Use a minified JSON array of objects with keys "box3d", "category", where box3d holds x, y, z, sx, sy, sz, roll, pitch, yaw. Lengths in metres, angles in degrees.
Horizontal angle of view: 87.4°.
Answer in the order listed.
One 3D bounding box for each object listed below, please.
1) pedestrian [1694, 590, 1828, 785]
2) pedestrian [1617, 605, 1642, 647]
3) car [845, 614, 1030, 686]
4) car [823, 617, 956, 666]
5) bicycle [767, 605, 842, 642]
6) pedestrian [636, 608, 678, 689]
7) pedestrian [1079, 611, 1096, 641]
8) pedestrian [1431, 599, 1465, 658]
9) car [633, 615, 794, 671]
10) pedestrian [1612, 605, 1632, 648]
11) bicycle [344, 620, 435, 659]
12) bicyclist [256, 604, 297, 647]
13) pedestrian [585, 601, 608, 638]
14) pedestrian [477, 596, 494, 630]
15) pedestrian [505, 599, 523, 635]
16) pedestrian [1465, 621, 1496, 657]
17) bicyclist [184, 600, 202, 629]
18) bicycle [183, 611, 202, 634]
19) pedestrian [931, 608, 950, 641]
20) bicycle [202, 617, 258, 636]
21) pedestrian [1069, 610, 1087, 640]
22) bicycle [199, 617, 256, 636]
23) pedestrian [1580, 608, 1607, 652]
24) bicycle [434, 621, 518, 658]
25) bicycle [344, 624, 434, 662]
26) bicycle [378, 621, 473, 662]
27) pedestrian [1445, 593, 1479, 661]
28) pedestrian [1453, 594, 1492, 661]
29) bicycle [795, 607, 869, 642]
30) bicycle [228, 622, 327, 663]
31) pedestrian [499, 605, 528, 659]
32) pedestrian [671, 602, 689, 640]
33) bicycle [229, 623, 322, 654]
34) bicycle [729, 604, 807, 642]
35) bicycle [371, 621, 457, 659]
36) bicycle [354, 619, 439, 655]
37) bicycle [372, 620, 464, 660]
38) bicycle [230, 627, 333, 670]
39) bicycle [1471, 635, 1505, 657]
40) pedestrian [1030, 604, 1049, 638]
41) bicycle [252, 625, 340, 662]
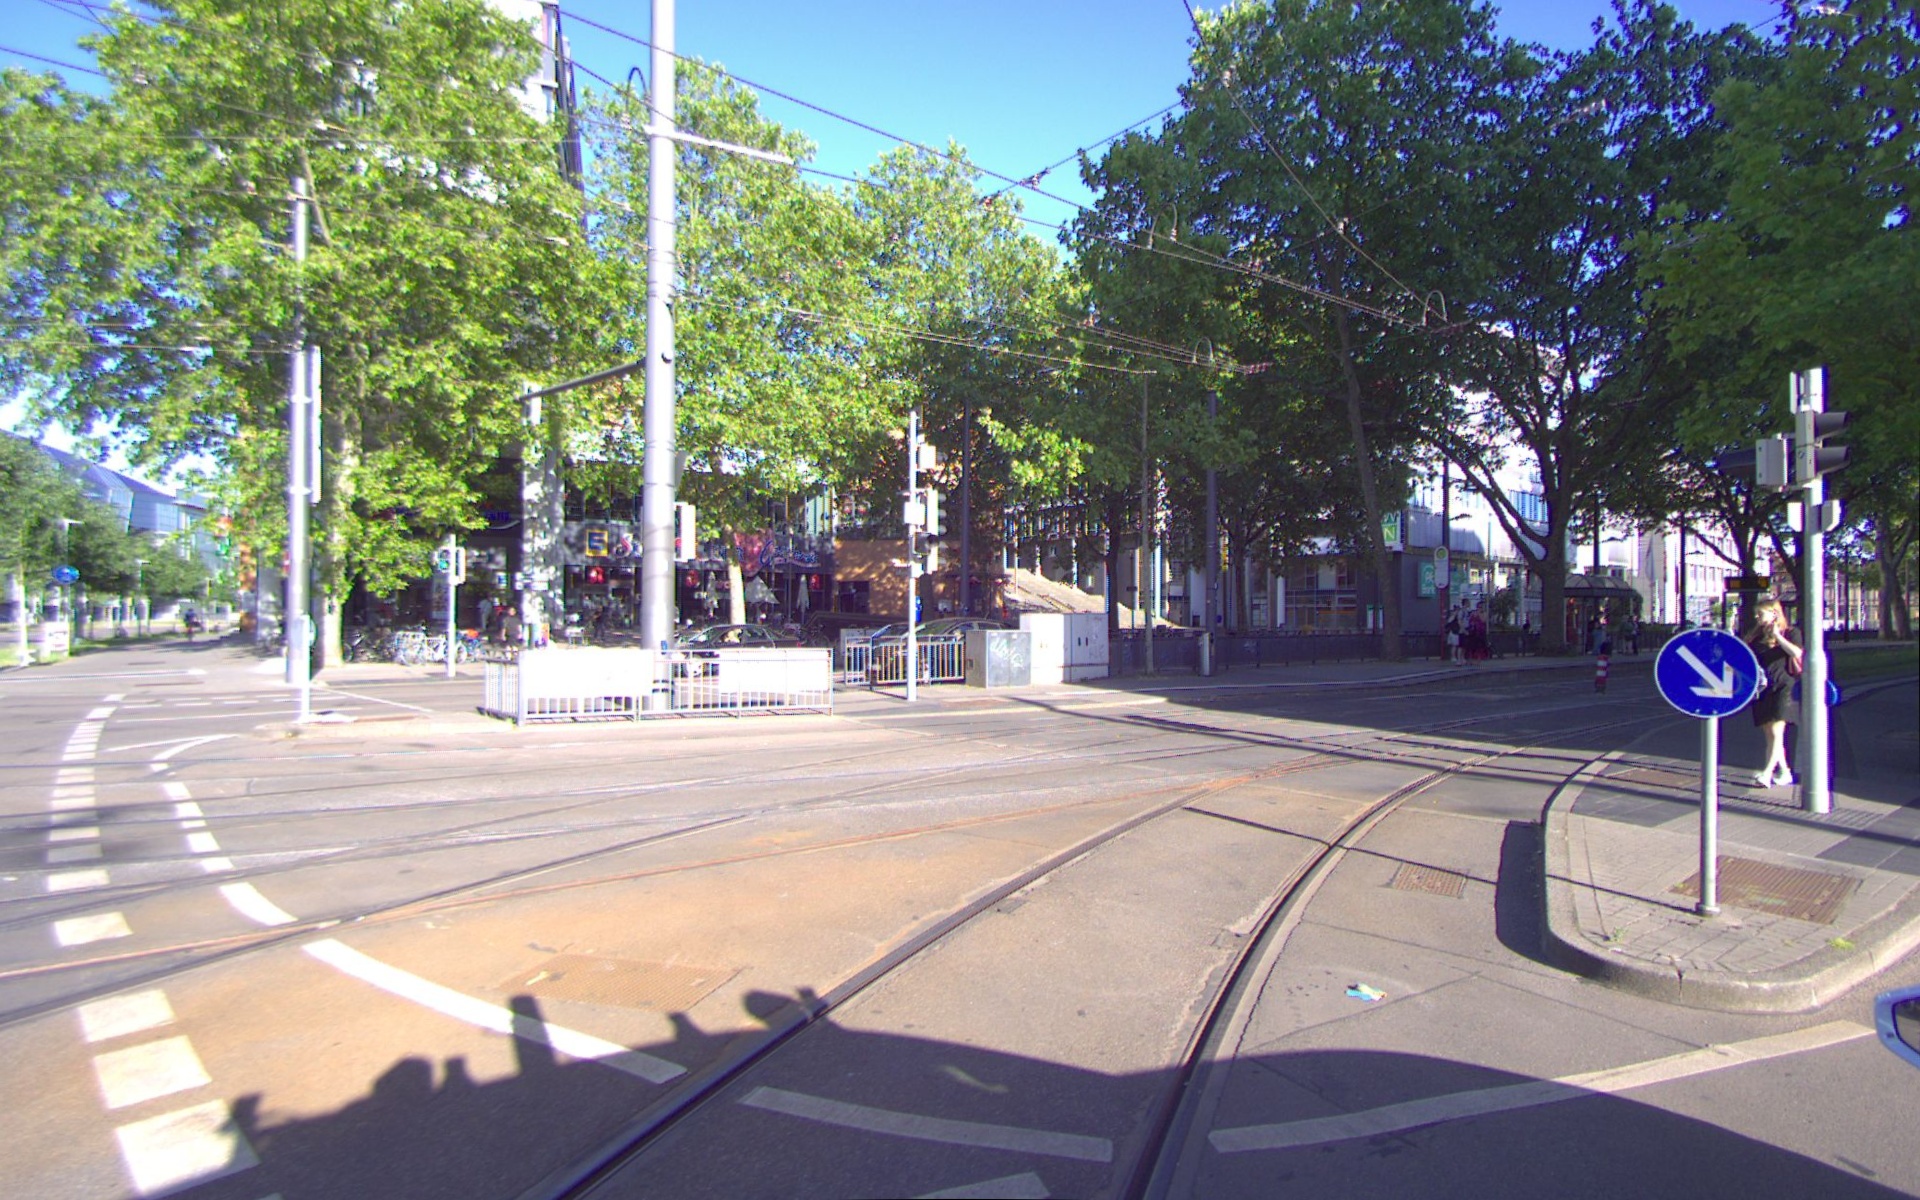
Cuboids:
[{"box3d":[7.380,0.776,9.267,0.821,1.702,0.711,1,-2,-30],"category":"pedestrian"},{"box3d":[25.755,1.004,38.658,0.631,1.594,0.561,-1,1,-26],"category":"pedestrian"},{"box3d":[-0.450,1.090,22.502,3.966,1.433,1.653,2,0,-39],"category":"car"},{"box3d":[-2.216,1.323,32.068,3.963,1.425,1.654,2,0,-37],"category":"car"},{"box3d":[-6.269,0.931,40.381,3.310,1.371,1.031,1,0,39],"category":"bicycle"},{"box3d":[-6.575,1.042,21.803,0.708,1.702,0.825,1,-2,-29],"category":"pedestrian"},{"box3d":[7.206,1.472,56.768,0.700,1.674,0.691,1,1,-39],"category":"pedestrian"},{"box3d":[15.286,0.887,31.467,0.734,1.824,0.589,1,0,-23],"category":"pedestrian"},{"box3d":[-6.752,1.171,27.673,3.963,1.425,1.654,2,0,-37],"category":"car"},{"box3d":[25.252,1.006,38.329,0.489,1.594,0.498,-1,2,-35],"category":"pedestrian"},{"box3d":[-17.281,1.190,30.450,2.345,1.143,0.592,1,-1,-38],"category":"bicycle"},{"box3d":[-25.128,0.936,36.942,0.922,1.569,0.894,1,-1,-10],"category":"bicyclist"},{"box3d":[-16.723,0.886,46.265,0.692,1.674,0.698,1,0,24],"category":"pedestrian"},{"box3d":[-23.514,0.624,49.757,0.697,1.674,0.693,1,0,-27],"category":"pedestrian"},{"box3d":[-21.036,0.794,47.358,0.691,1.674,0.700,1,0,-32],"category":"pedestrian"},{"box3d":[17.763,1.327,34.306,0.734,1.179,0.589,1,0,-23],"category":"pedestrian"},{"box3d":[-39.408,0.746,51.590,0.687,1.480,0.746,1,0,-36],"category":"bicyclist"},{"box3d":[-39.398,1.141,51.560,0.687,1.152,1.832,1,0,-36],"category":"bicycle"},{"box3d":[-1.024,1.269,51.849,0.700,1.674,0.691,1,1,-39],"category":"pedestrian"},{"box3d":[-44.870,1.627,61.766,2.656,1.118,0.890,1,-1,-26],"category":"bicycle"},{"box3d":[6.735,1.432,57.346,0.700,1.674,0.691,1,1,-39],"category":"pedestrian"},{"box3d":[-44.592,1.607,61.184,2.656,1.118,0.890,1,-1,-26],"category":"bicycle"},{"box3d":[23.375,1.111,37.068,0.658,1.594,0.486,0,1,4],"category":"pedestrian"},{"box3d":[-15.491,1.254,32.185,2.345,1.143,0.592,1,-1,-38],"category":"bicycle"},{"box3d":[-17.595,1.316,30.995,2.345,1.143,0.592,1,-1,-38],"category":"bicycle"},{"box3d":[-15.365,1.180,28.898,2.345,1.143,0.592,1,-1,-38],"category":"bicycle"},{"box3d":[14.037,0.750,28.079,0.739,1.853,0.628,1,1,-43],"category":"pedestrian"},{"box3d":[14.519,0.776,28.461,0.731,1.853,0.592,1,0,-7],"category":"pedestrian"},{"box3d":[-5.332,0.987,41.569,3.310,1.371,1.031,1,0,39],"category":"bicycle"},{"box3d":[-19.842,1.232,29.238,2.344,1.143,0.593,1,-1,-36],"category":"bicycle"},{"box3d":[-14.536,1.043,32.692,0.709,1.702,0.823,1,-2,-35],"category":"pedestrian"},{"box3d":[-13.584,1.015,48.694,0.696,1.791,0.694,1,0,-26],"category":"pedestrian"},{"box3d":[-25.132,1.418,36.934,2.644,1.118,0.894,1,-1,-11],"category":"bicycle"},{"box3d":[-7.414,0.857,38.714,3.310,1.371,1.031,1,0,39],"category":"bicycle"},{"box3d":[-17.356,1.262,31.976,2.345,1.143,0.592,1,-1,-38],"category":"bicycle"},{"box3d":[-18.294,1.201,32.667,2.345,1.143,0.592,1,-1,-38],"category":"bicycle"},{"box3d":[-16.093,1.170,29.887,2.345,1.143,0.592,1,-1,-38],"category":"bicycle"},{"box3d":[-18.937,1.347,28.075,2.344,1.143,0.593,1,-1,-36],"category":"bicycle"},{"box3d":[17.992,1.570,34.194,1.681,0.698,0.389,1,0,-39],"category":"bicycle"},{"box3d":[4.001,1.072,50.559,0.699,1.674,0.691,1,0,-38],"category":"pedestrian"},{"box3d":[-21.598,1.401,32.700,2.344,1.143,0.593,1,-1,-36],"category":"bicycle"}]
